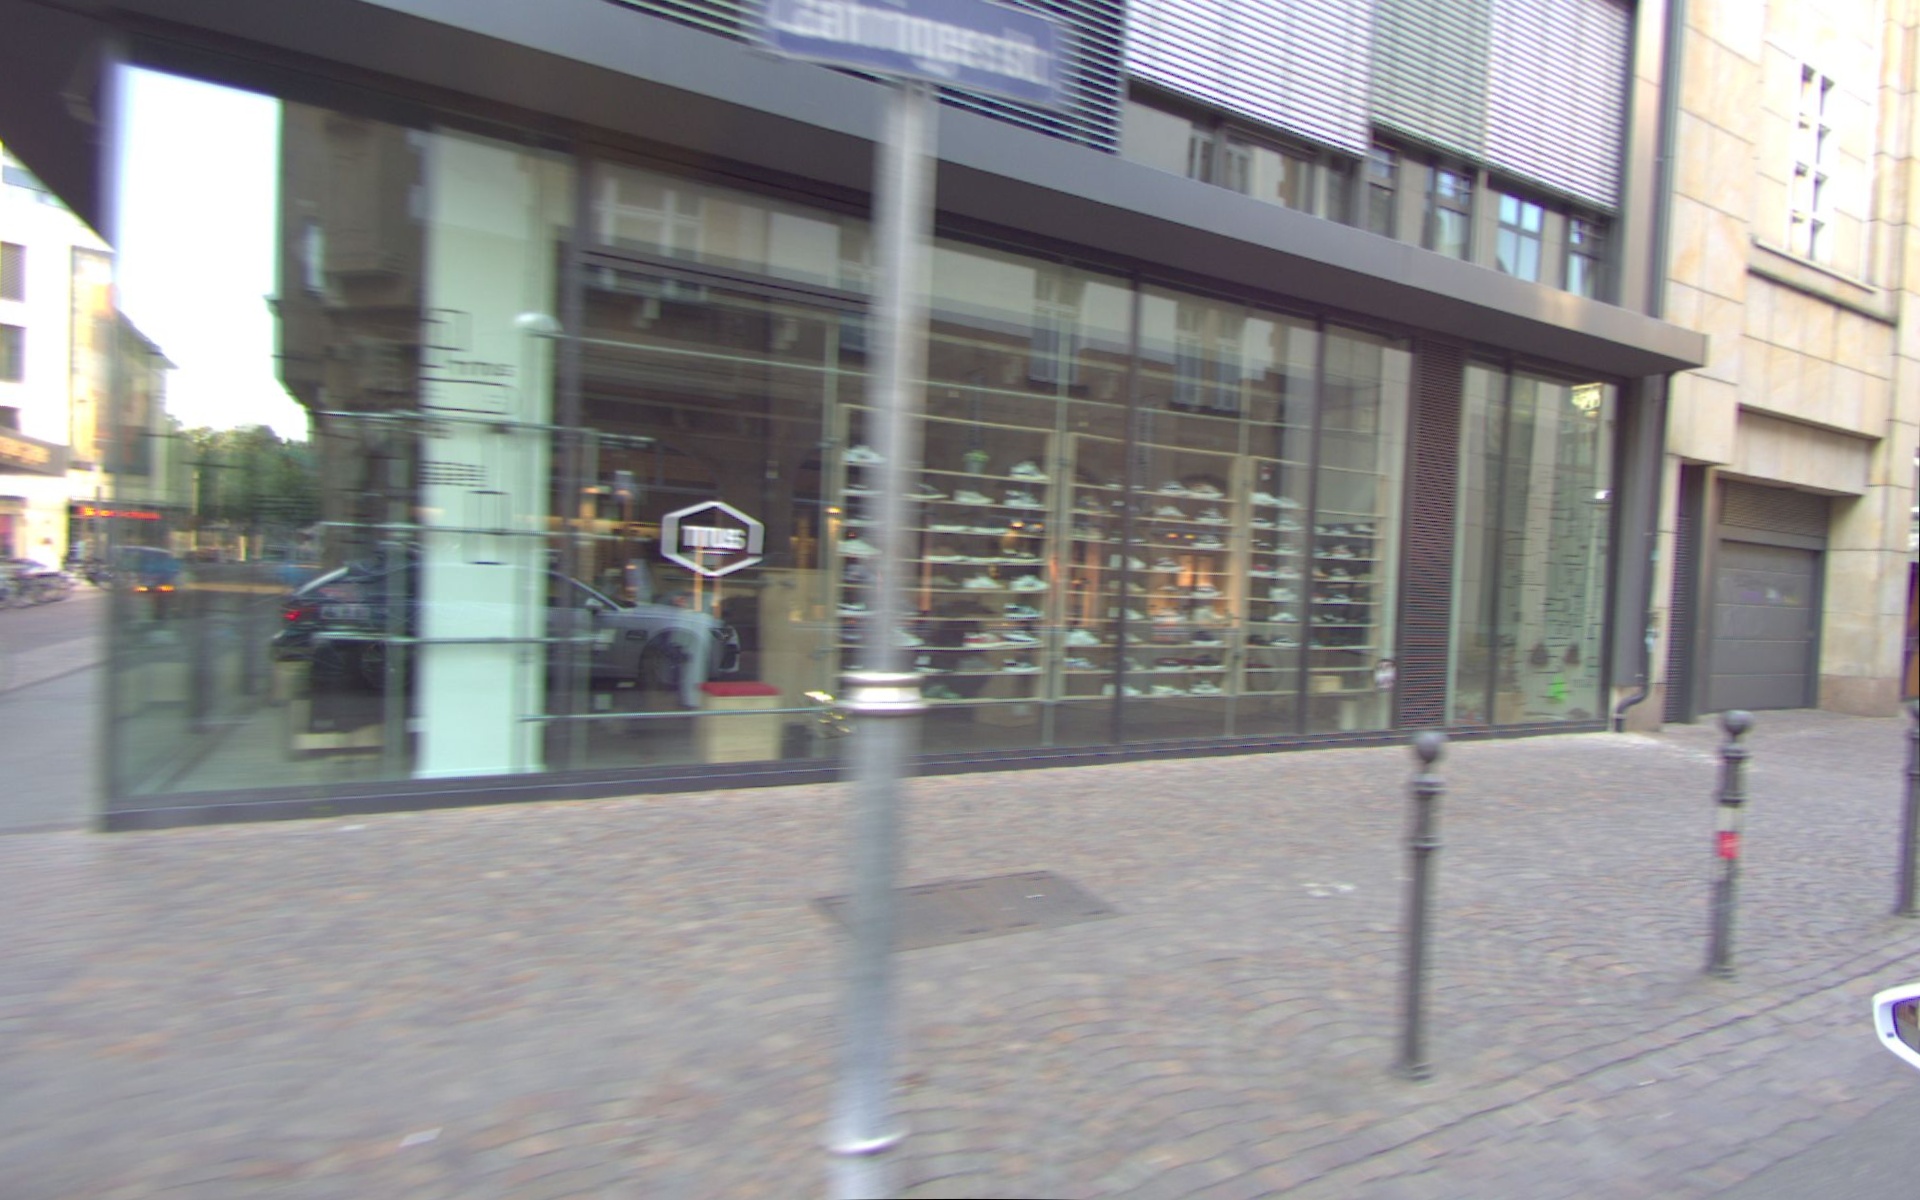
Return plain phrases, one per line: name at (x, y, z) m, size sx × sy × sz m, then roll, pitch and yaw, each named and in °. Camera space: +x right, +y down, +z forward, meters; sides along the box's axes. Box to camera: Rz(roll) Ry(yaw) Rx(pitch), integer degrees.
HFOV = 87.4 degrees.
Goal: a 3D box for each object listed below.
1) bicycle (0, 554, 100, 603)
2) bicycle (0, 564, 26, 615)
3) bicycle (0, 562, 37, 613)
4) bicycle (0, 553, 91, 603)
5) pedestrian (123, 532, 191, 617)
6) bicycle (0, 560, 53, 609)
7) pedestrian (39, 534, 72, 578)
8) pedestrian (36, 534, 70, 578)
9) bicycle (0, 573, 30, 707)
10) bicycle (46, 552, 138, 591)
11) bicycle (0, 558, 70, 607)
bicycle at (-23.679, -0.553, 26.017) m, size 2.030 × 1.110 × 0.463 m, roll 4°, pitch 0°, yaw -29°
bicycle at (-20.710, -0.280, 20.700) m, size 2.030 × 1.029 × 0.463 m, roll 4°, pitch 0°, yaw -29°
bicycle at (-21.546, -0.323, 21.865) m, size 2.030 × 1.063 × 0.463 m, roll 4°, pitch 0°, yaw -29°
bicycle at (-23.241, -0.555, 25.234) m, size 2.030 × 1.110 × 0.463 m, roll 4°, pitch 0°, yaw -29°
pedestrian at (-16.330, -0.517, 20.459) m, size 0.890 × 1.683 × 0.924 m, roll 1°, pitch 2°, yaw -27°
bicycle at (-22.168, -0.390, 22.965) m, size 2.030 × 1.063 × 0.463 m, roll 4°, pitch 0°, yaw -29°
pedestrian at (-40.013, -1.945, 44.429) m, size 0.896 × 1.884 × 0.829 m, roll 1°, pitch 2°, yaw -28°
pedestrian at (-39.606, -1.919, 43.864) m, size 0.896 × 1.884 × 0.829 m, roll 1°, pitch 2°, yaw -28°
bicycle at (-9.130, 0.351, 8.306) m, size 2.015 × 1.136 × 0.463 m, roll -1°, pitch 3°, yaw -29°
bicycle at (-26.788, -0.873, 31.034) m, size 2.030 × 1.026 × 0.463 m, roll 4°, pitch 0°, yaw -29°
bicycle at (-22.789, -0.444, 24.112) m, size 2.030 × 1.063 × 0.463 m, roll 4°, pitch 0°, yaw -29°
